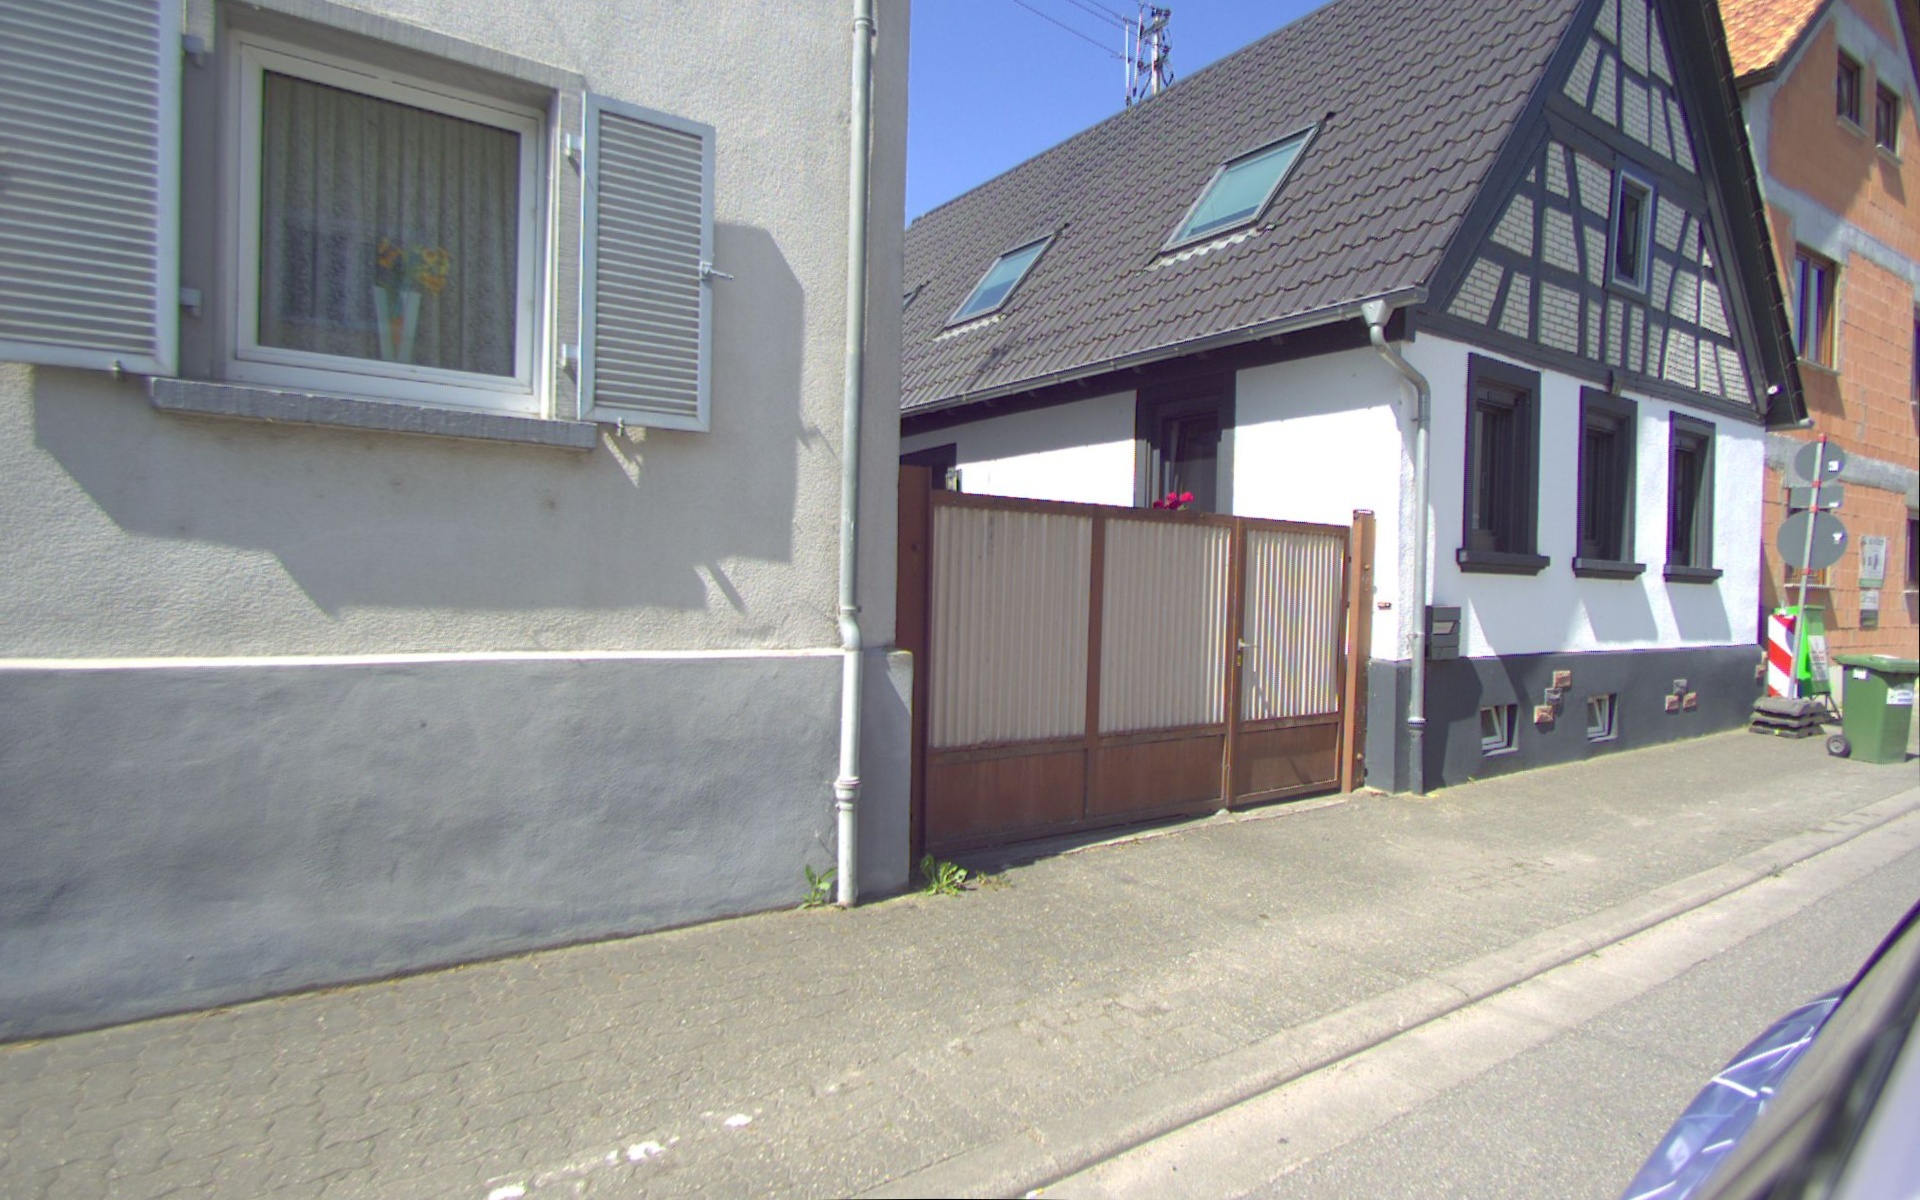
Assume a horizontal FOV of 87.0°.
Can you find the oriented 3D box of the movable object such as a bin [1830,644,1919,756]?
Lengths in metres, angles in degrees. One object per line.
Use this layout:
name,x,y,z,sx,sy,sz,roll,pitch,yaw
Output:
movable object such as a bin,8.281,0.877,9.040,0.540,0.925,0.541,1,1,-17
